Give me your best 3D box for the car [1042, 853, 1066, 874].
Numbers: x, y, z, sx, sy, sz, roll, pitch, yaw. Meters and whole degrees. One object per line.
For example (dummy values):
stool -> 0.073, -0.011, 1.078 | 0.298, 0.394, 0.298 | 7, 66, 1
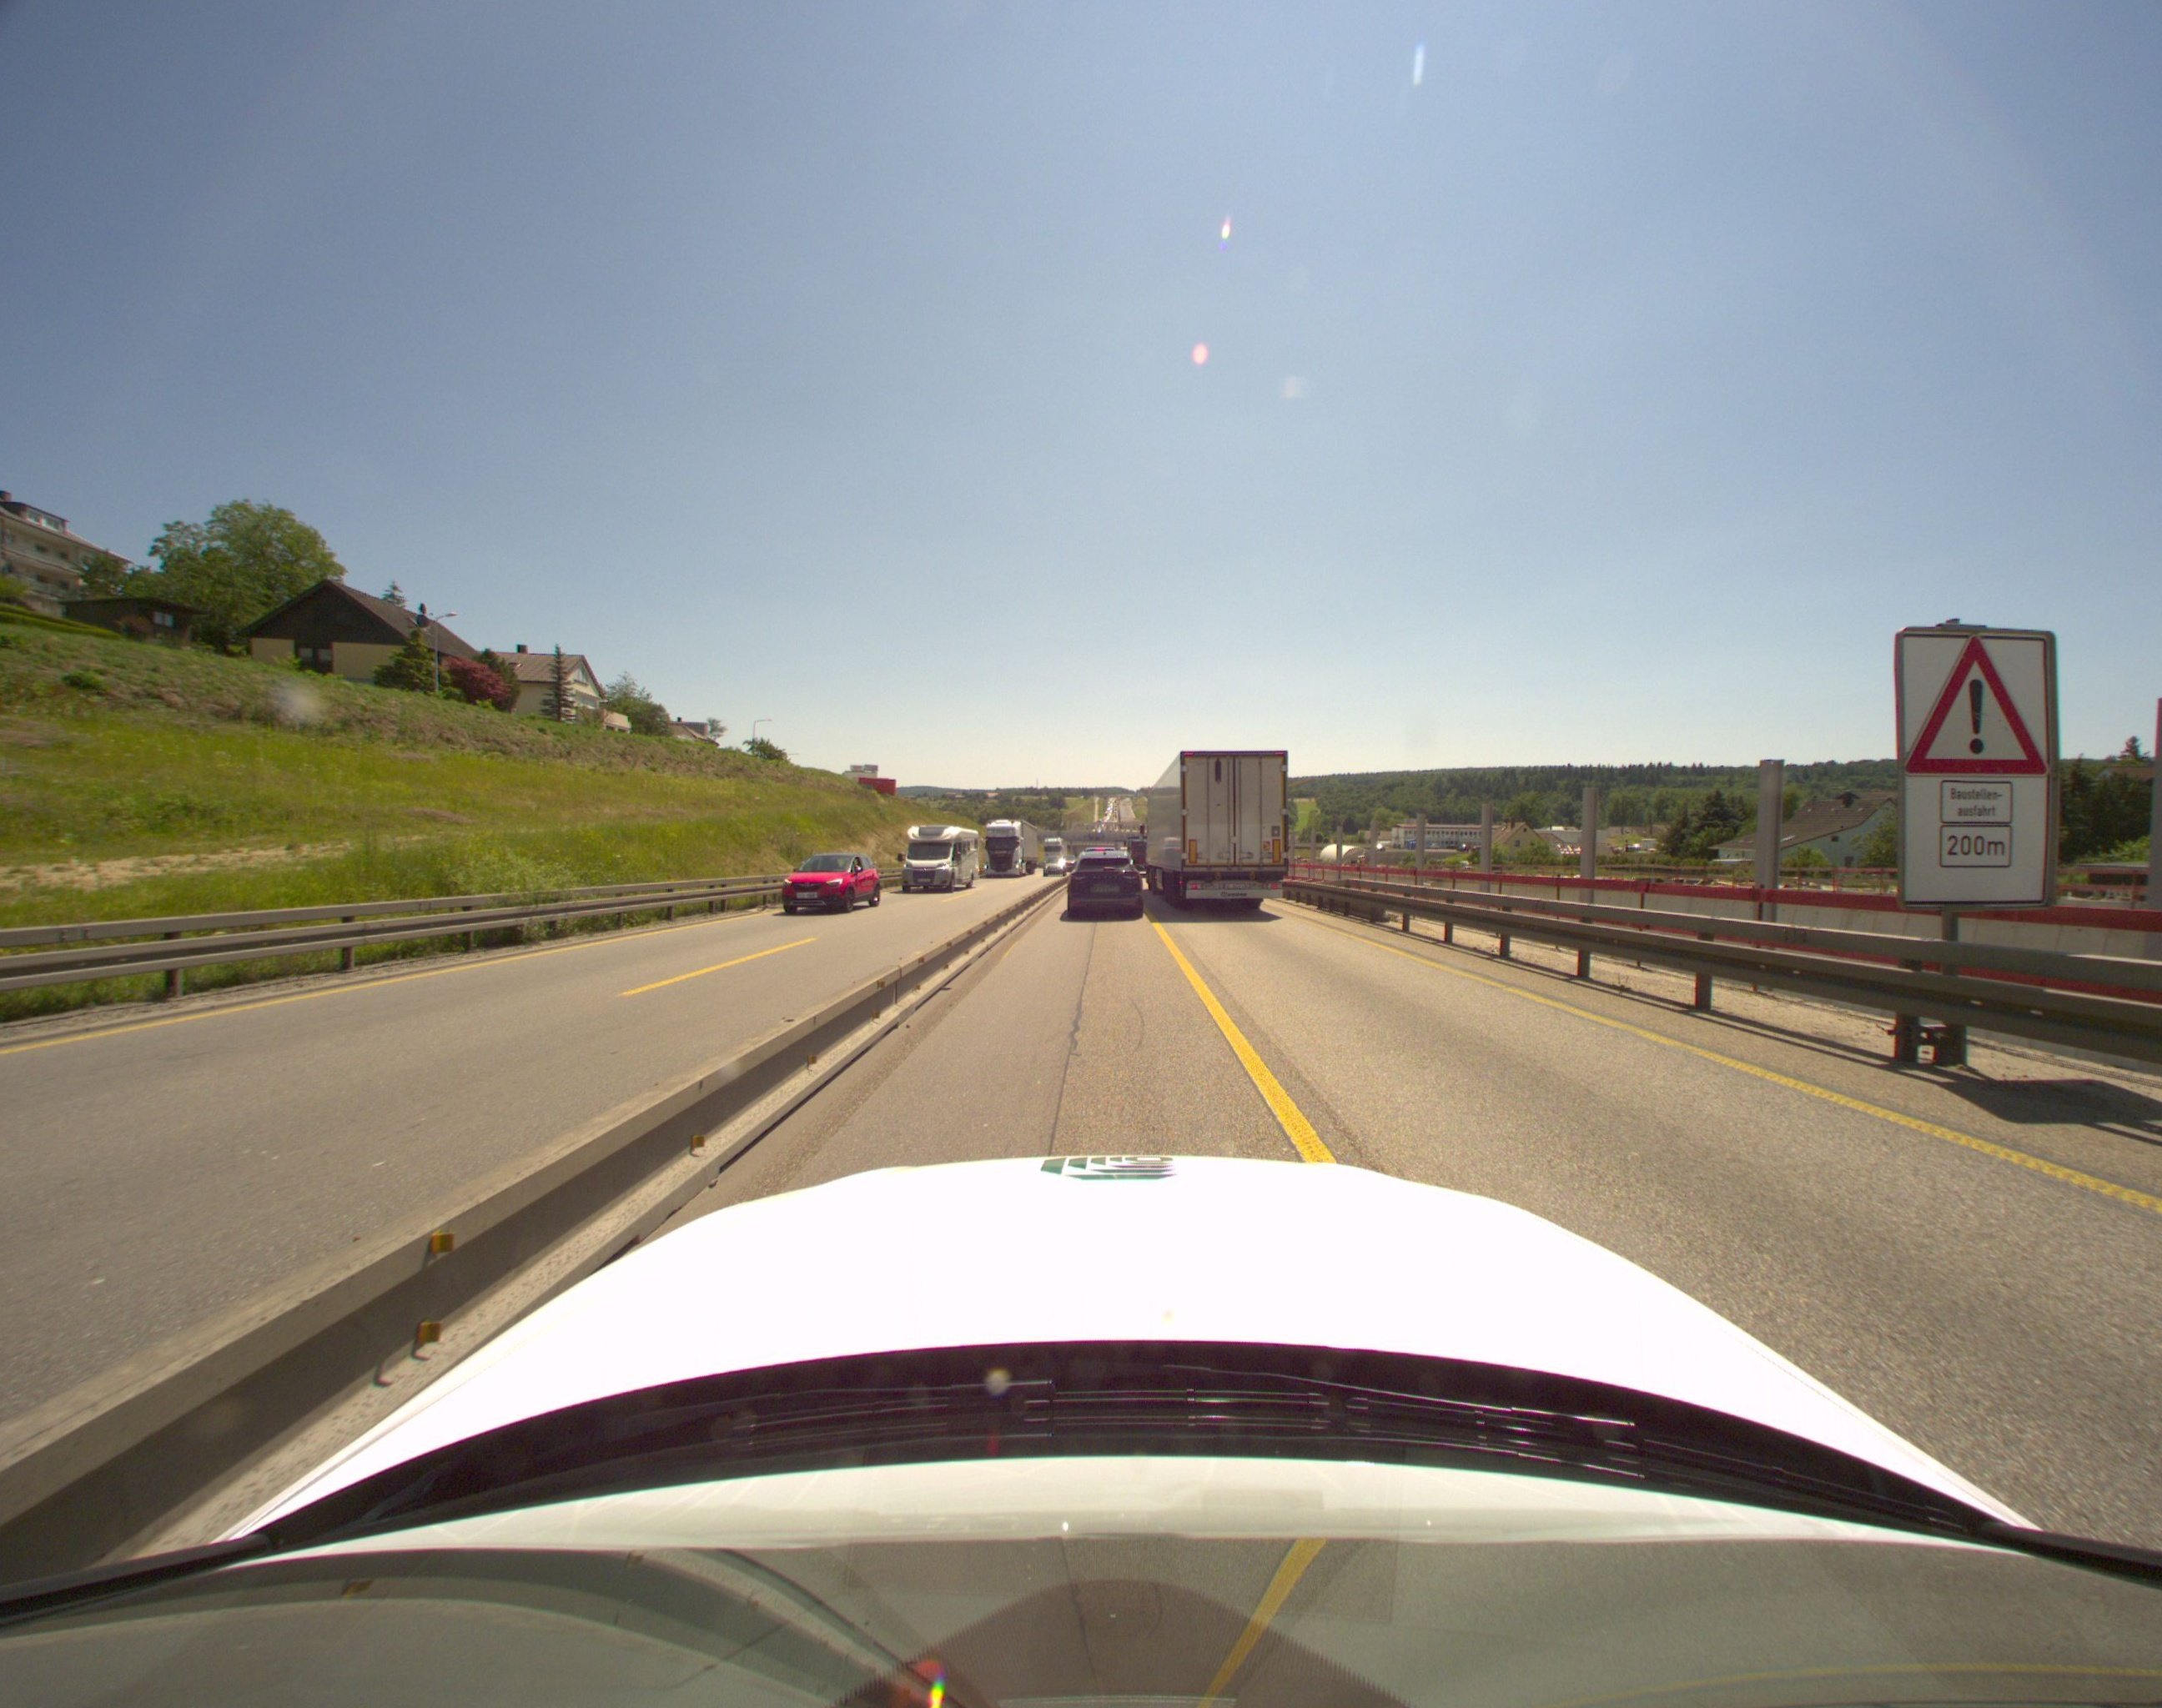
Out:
car -> -1.970, 0.694, 60.289 | 1.623, 1.479, 3.380 | 0, 0, 1

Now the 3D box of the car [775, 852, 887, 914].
car -> -6.885, 0.732, 22.869 | 1.710, 1.552, 4.266 | -1, 0, 1

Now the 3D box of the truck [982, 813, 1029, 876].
truck -> -5.291, -0.633, 57.745 | 2.764, 4.287, 4.677 | 0, 0, 1

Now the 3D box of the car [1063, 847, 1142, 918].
car -> 0.541, 0.646, 20.263 | 1.793, 1.620, 3.299 | -1, 0, 2

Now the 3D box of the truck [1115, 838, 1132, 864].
truck -> 6.692, -0.406, 128.695 | 2.508, 3.959, 7.601 | 1, 0, 1

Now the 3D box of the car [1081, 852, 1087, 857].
car -> 1.048, 0.137, 260.254 | 1.726, 1.794, 3.581 | 0, 0, 1

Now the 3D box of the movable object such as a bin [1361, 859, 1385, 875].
movable object such as a bin -> 40.984, 1.778, 114.373 | 1.985, 2.239, 4.154 | 0, 0, 2

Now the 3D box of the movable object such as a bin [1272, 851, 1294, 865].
movable object such as a bin -> 43.401, 0.881, 175.314 | 2.876, 2.909, 9.485 | 0, 0, 3

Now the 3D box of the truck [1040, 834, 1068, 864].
truck -> -3.819, -0.664, 119.396 | 3.231, 4.160, 13.982 | -1, 0, 1

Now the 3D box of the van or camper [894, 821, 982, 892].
van or camper -> -6.081, 0.084, 35.807 | 2.326, 2.777, 7.519 | -1, 0, 1

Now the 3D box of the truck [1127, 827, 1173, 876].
truck -> 4.906, -0.120, 59.765 | 2.803, 3.135, 12.845 | -1, -1, 3

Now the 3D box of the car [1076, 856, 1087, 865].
car -> 0.086, 1.116, 149.237 | 1.805, 1.638, 4.365 | -1, 0, 3

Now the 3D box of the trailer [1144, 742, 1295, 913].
trailer -> 3.846, -0.556, 26.490 | 2.791, 4.058, 14.119 | -1, -1, 1

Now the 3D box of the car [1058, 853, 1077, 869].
car -> -1.358, 0.661, 83.904 | 1.842, 1.586, 4.175 | 0, 0, 1

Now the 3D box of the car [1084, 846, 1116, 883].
car -> 0.999, 0.492, 41.129 | 1.468, 1.795, 3.300 | 0, 0, 3

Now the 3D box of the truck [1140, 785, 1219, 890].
truck -> 4.014, -0.615, 34.166 | 2.766, 4.058, 4.905 | -1, -1, 1

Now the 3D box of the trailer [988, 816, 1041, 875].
trailer -> -5.115, -0.612, 65.719 | 2.800, 4.286, 14.038 | 0, 0, 1

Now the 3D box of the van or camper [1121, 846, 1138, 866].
van or camper -> 5.743, 0.255, 97.120 | 1.986, 2.244, 4.002 | 1, 0, 2

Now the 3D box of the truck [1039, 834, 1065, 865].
truck -> -4.000, -0.650, 111.974 | 3.227, 4.160, 4.248 | -1, 0, 1
